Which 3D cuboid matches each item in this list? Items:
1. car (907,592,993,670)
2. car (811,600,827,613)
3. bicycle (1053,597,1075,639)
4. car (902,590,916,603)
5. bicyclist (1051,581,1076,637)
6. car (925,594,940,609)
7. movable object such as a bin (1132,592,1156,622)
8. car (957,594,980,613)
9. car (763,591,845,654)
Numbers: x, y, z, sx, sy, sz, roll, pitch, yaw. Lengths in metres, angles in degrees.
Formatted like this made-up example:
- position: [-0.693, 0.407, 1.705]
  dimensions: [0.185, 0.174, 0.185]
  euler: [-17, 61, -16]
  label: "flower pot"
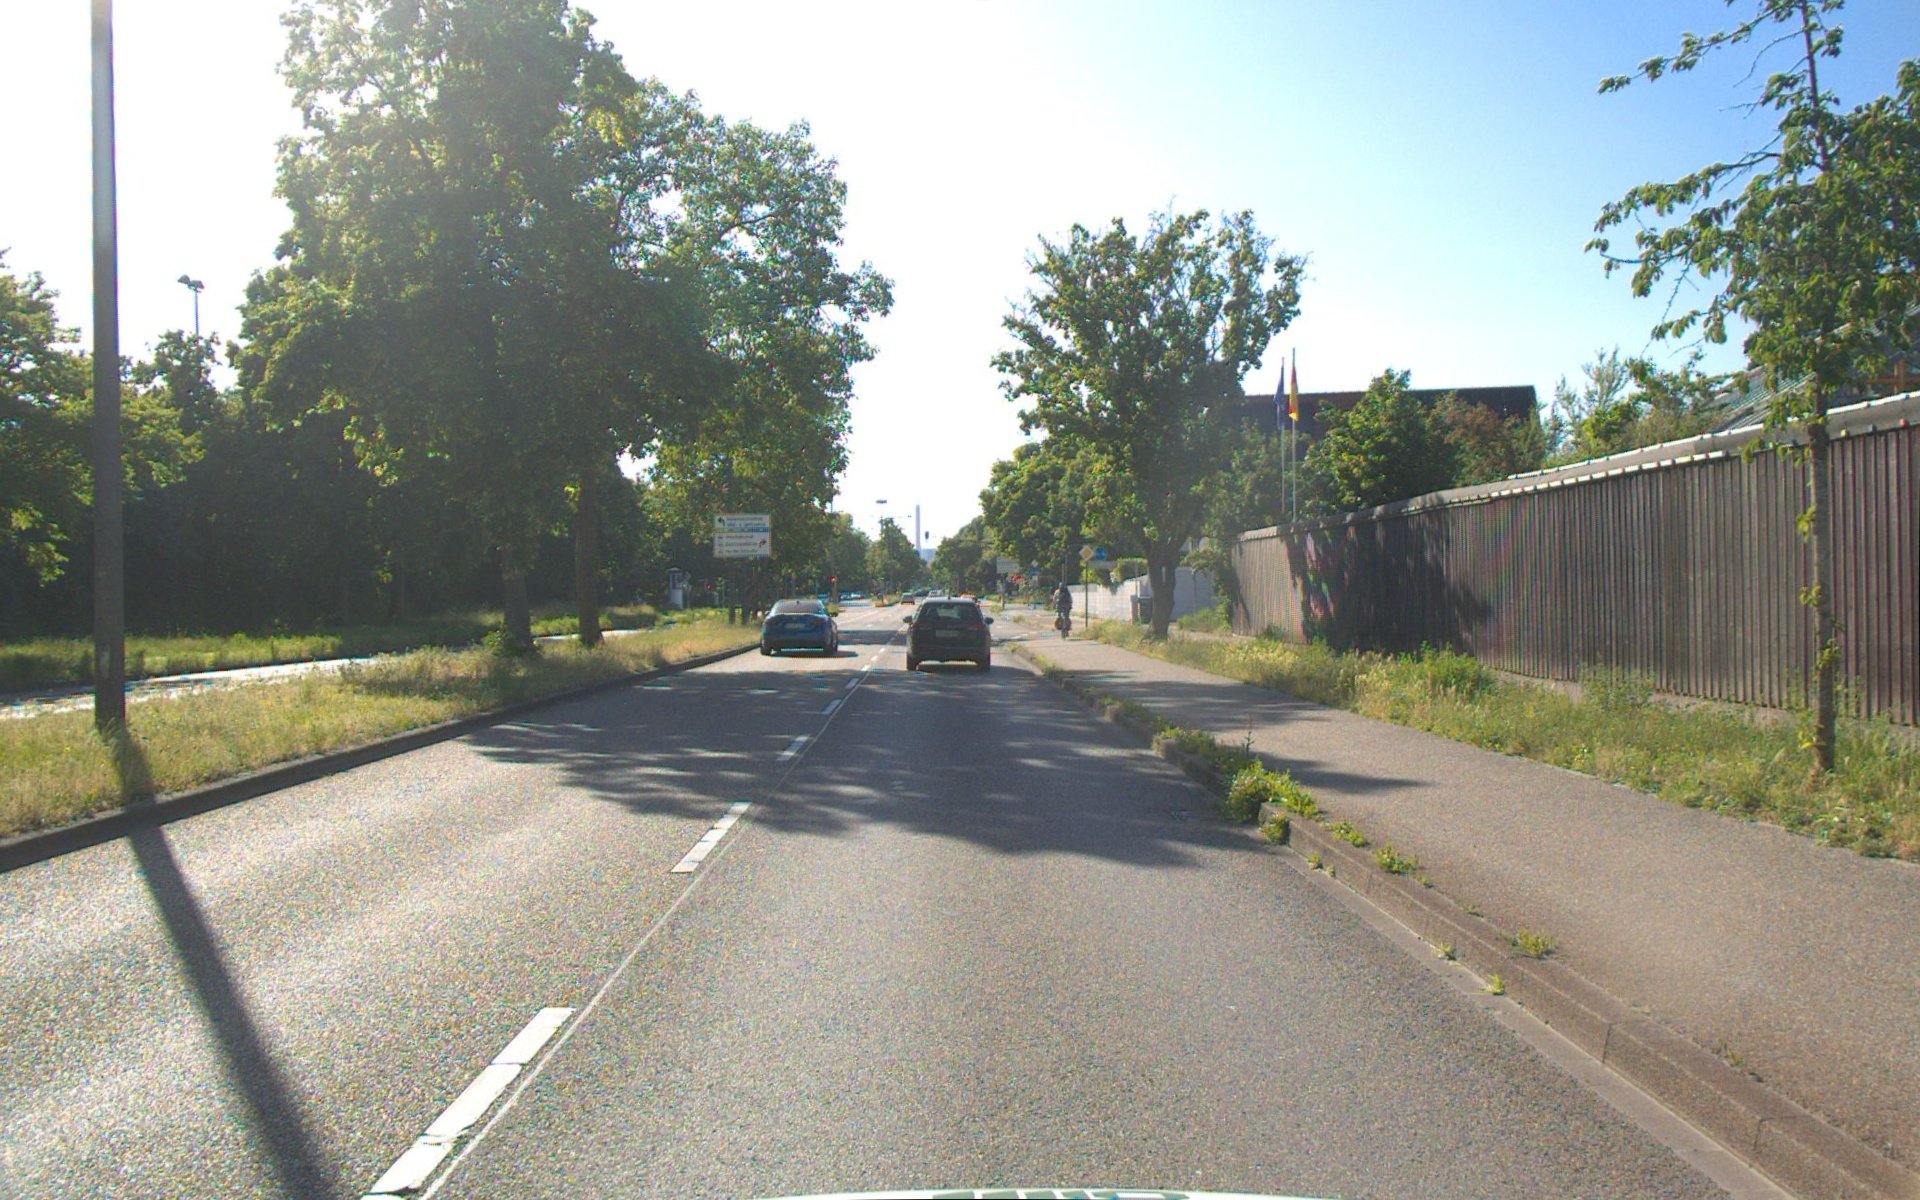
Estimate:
- position: [-0.236, 0.623, 34.796]
  dimensions: [1.720, 1.535, 3.807]
  euler: [0, 0, -1]
  label: "car"
- position: [-19.369, 0.870, 227.534]
  dimensions: [1.873, 1.733, 4.407]
  euler: [1, -1, 0]
  label: "car"
- position: [3.169, 0.527, 50.394]
  dimensions: [0.562, 1.175, 2.142]
  euler: [-4, 1, 3]
  label: "bicycle"
- position: [-6.687, -0.483, 215.292]
  dimensions: [1.787, 1.643, 3.839]
  euler: [1, 1, -2]
  label: "car"
- position: [3.149, 0.261, 50.371]
  dimensions: [0.617, 1.661, 0.982]
  euler: [-4, 0, 3]
  label: "bicyclist"
- position: [-3.103, 0.197, 187.563]
  dimensions: [1.697, 1.613, 3.839]
  euler: [1, 0, -1]
  label: "car"
- position: [8.012, 0.304, 72.172]
  dimensions: [0.980, 1.226, 1.063]
  euler: [-2, -1, 6]
  label: "movable object such as a bin"
- position: [0.704, 0.273, 131.143]
  dimensions: [1.696, 1.485, 3.841]
  euler: [0, 0, 2]
  label: "car"
- position: [-4.066, 0.578, 43.647]
  dimensions: [1.850, 1.579, 3.999]
  euler: [-1, 0, -1]
  label: "car"
